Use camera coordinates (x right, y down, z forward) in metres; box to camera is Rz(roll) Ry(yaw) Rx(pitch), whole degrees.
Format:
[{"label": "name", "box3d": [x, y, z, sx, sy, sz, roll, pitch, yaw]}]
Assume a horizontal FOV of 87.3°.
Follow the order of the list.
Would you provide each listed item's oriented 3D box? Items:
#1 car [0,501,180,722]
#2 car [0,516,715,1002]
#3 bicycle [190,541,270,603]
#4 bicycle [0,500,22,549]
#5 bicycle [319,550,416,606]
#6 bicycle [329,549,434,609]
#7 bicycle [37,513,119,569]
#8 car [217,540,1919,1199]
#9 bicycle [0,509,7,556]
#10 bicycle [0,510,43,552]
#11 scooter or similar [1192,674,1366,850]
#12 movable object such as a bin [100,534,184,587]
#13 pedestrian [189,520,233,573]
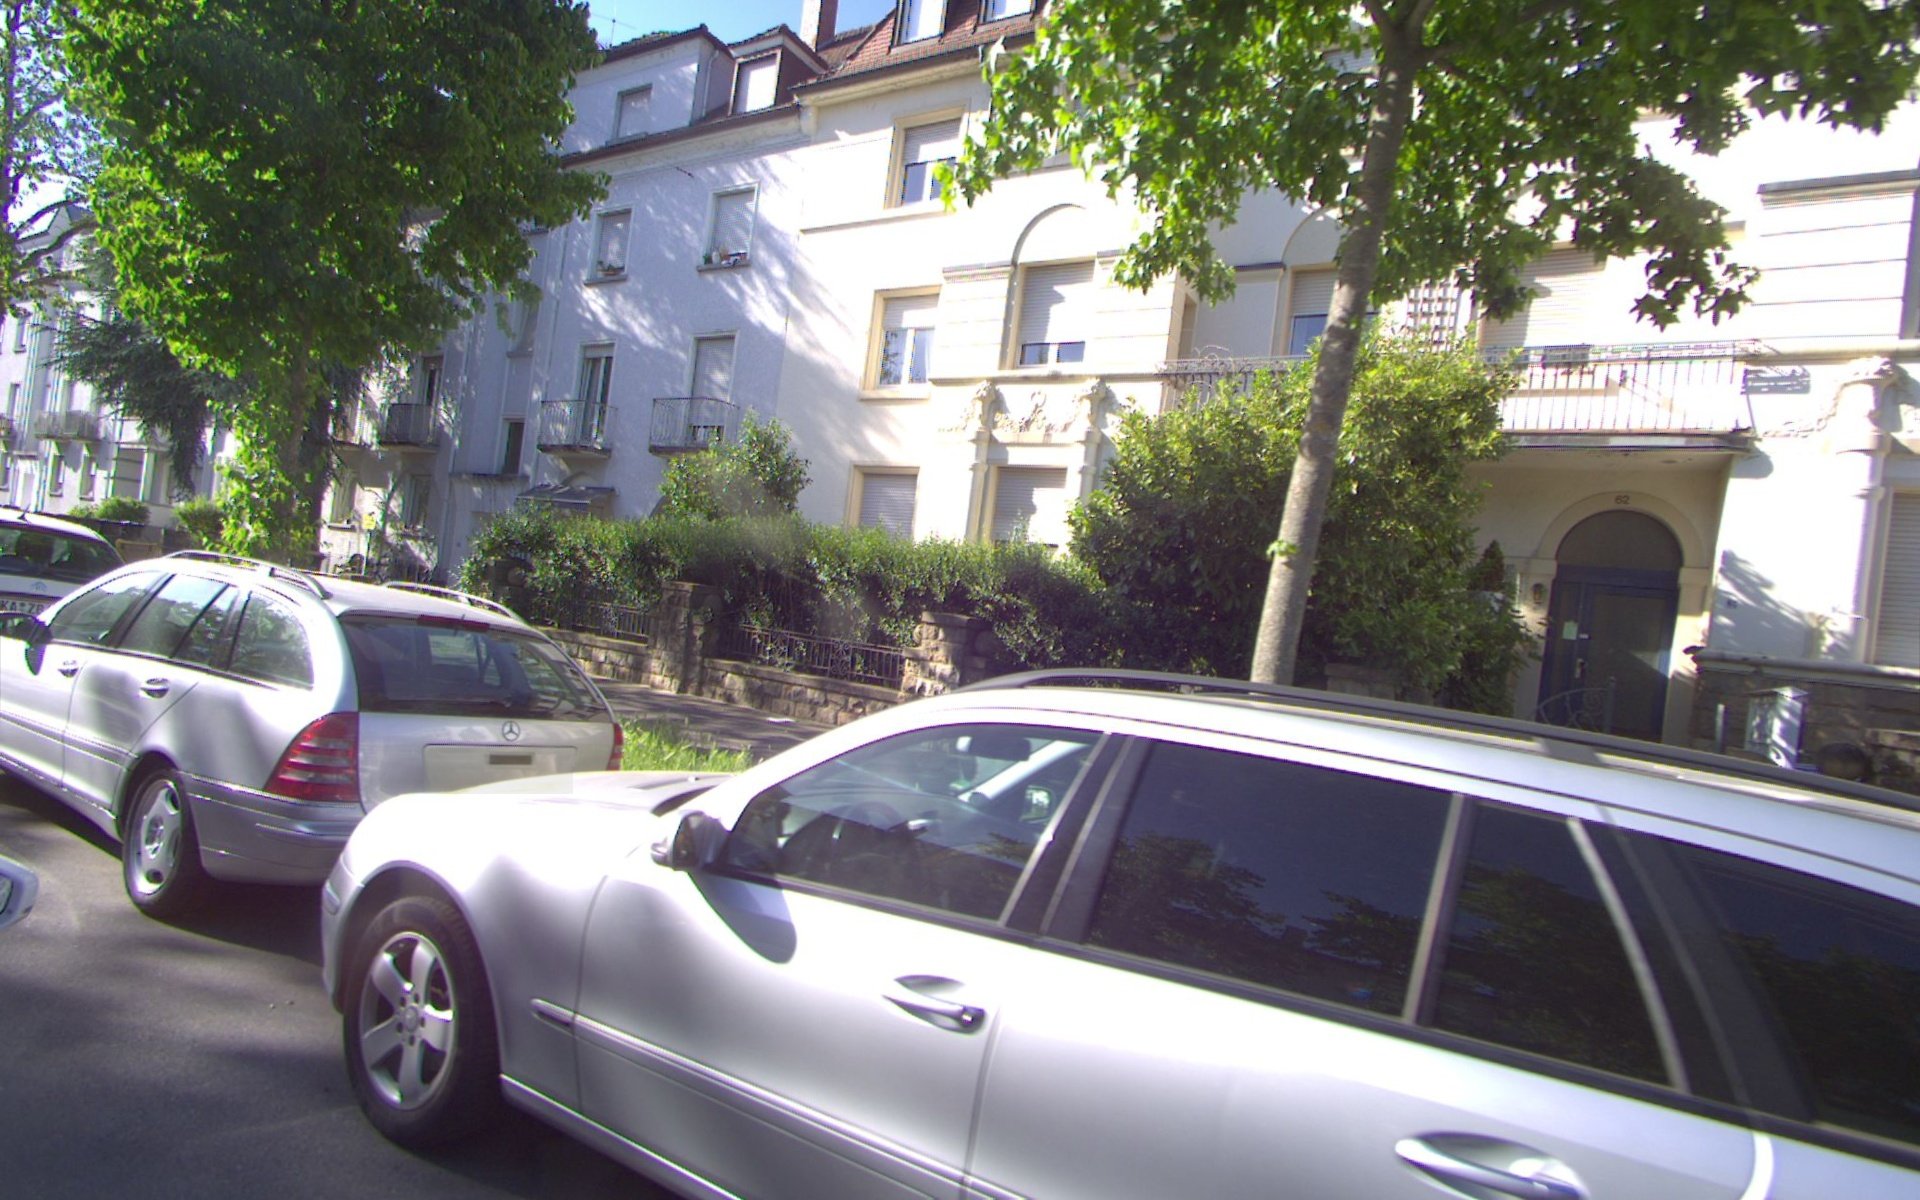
[{"label": "car", "box3d": [-8.437, -0.096, 8.351, 3.903, 1.549, 1.659, 7, -3, 31]}, {"label": "car", "box3d": [-3.725, 0.481, 5.319, 4.780, 1.426, 1.715, 7, -3, 31]}, {"label": "bicycle", "box3d": [-14.123, -0.546, 19.438, 1.873, 0.987, 0.581, 7, 0, 34]}, {"label": "bicycle", "box3d": [-27.124, -2.193, 27.930, 2.193, 1.272, 0.840, 7, -1, 29]}, {"label": "bicycle", "box3d": [-14.406, -0.518, 24.512, 0.574, 1.114, 1.898, 7, 0, 35]}, {"label": "bicycle", "box3d": [-12.935, -0.457, 22.542, 0.574, 1.114, 1.898, 7, 0, 35]}, {"label": "bicycle", "box3d": [-21.353, -1.433, 24.348, 1.966, 1.128, 0.805, 7, -1, 30]}, {"label": "car", "box3d": [0.343, 0.897, 2.602, 4.827, 1.486, 1.826, 7, -3, 31]}, {"label": "bicycle", "box3d": [-24.989, -1.810, 25.357, 2.362, 1.167, 0.685, 7, 0, 30]}, {"label": "bicycle", "box3d": [-25.116, -1.861, 26.729, 1.872, 0.969, 0.596, 7, 0, 33]}, {"label": "scooter or similar", "box3d": [2.599, 1.297, 8.284, 0.400, 1.199, 1.191, 7, 1, -42]}, {"label": "movable object such as a bin", "box3d": [-17.126, -0.836, 21.123, 1.215, 0.915, 1.647, 8, -1, -37]}, {"label": "pedestrian", "box3d": [-17.718, -1.270, 23.786, 0.744, 1.156, 0.510, 7, -1, 34]}]
